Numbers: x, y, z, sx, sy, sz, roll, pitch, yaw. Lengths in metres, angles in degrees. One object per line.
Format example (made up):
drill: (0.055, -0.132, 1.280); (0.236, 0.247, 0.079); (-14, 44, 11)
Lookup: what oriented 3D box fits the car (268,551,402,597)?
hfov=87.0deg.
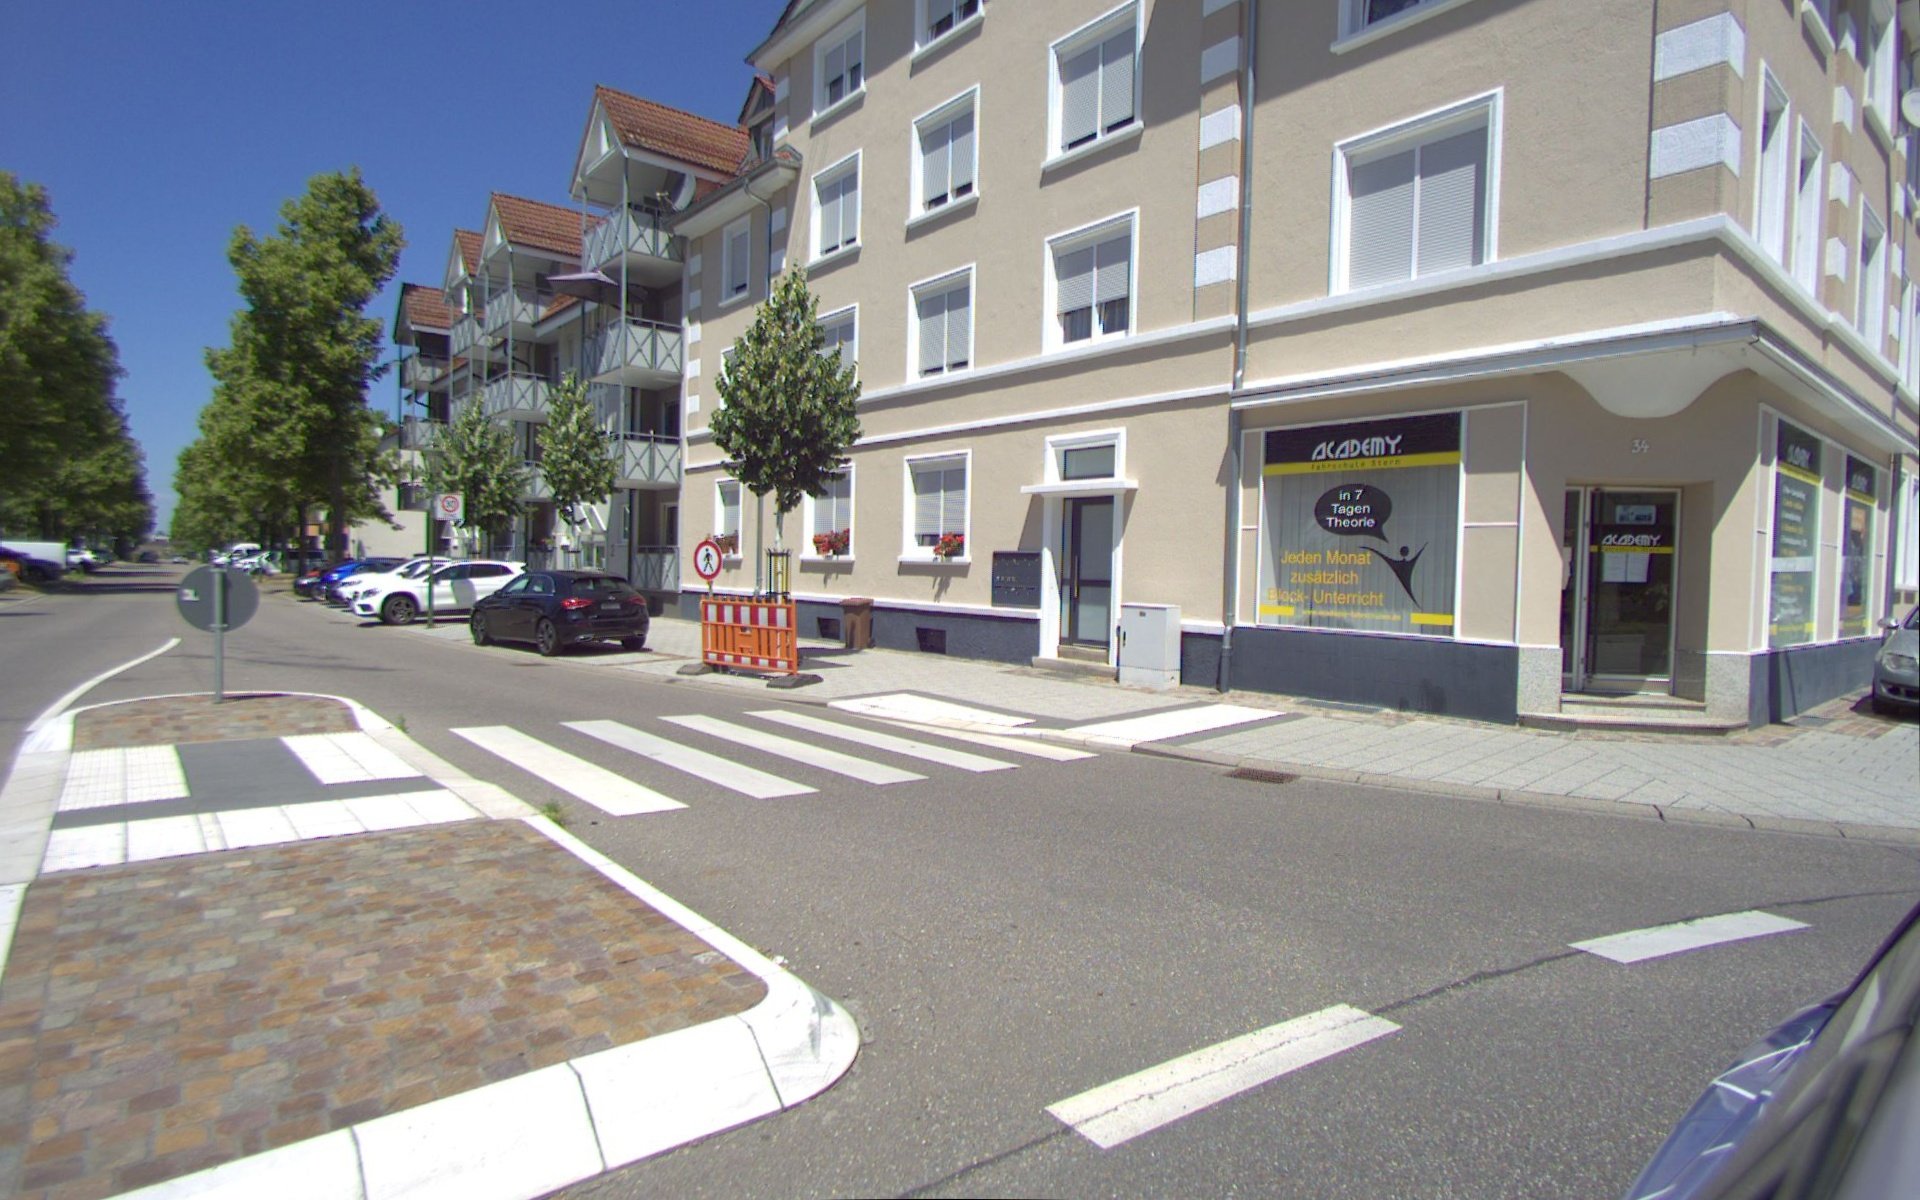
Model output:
car: (-24.248, -1.059, 39.340); (4.220, 1.661, 1.904); (-2, 3, -40)

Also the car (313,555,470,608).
car: (-18.416, -0.666, 32.860); (4.218, 1.595, 1.905); (-2, 3, -38)

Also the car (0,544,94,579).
car: (-51.545, -2.179, 57.203); (3.930, 1.883, 1.997); (0, 2, -41)

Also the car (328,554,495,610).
car: (-16.720, -0.610, 30.939); (4.218, 1.595, 1.905); (-2, 3, -38)

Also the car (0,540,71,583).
car: (-43.040, -1.738, 45.909); (3.927, 1.883, 1.998); (0, 0, -38)

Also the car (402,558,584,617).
car: (-12.741, -0.401, 27.743); (4.218, 1.453, 1.905); (-2, 3, -38)

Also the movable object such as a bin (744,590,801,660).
movable object such as a bin: (-3.001, 0.380, 16.192); (0.631, 1.068, 0.703); (-1, 2, -42)

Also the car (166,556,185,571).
car: (-109.517, -5.075, 141.300); (1.965, 2.038, 3.995); (0, 2, -40)

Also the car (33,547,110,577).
car: (-62.088, -2.654, 70.805); (3.927, 1.882, 2.000); (0, 4, -38)

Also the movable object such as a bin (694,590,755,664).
movable object such as a bin: (-3.659, 0.402, 15.697); (0.659, 1.068, 0.703); (-3, 3, -42)

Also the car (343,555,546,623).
car: (-12.783, -0.333, 25.212); (4.218, 1.542, 1.905); (-2, 3, -38)

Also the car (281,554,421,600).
car: (-22.320, -0.890, 37.159); (4.218, 1.595, 1.905); (-2, 3, -38)

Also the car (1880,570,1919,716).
car: (12.373, 0.459, 11.893); (4.609, 1.548, 1.768); (-1, 4, -41)

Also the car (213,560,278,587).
car: (-56.512, -2.073, 80.041); (3.934, 2.039, 1.995); (0, 2, -44)

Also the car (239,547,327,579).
car: (-44.621, -2.407, 66.734); (4.660, 2.038, 1.997); (0, 2, -41)

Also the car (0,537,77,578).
car: (-46.602, -2.129, 50.359); (3.927, 1.882, 2.000); (0, 4, -38)

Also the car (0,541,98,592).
car: (-38.748, -1.369, 42.444); (3.931, 2.039, 1.997); (0, 0, -41)

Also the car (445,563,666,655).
car: (-7.437, 0.069, 18.481); (4.148, 1.453, 1.882); (2, 3, 37)

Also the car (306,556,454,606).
car: (-20.021, -0.716, 35.025); (4.218, 1.595, 1.905); (-2, 3, -38)

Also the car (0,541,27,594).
car: (-34.720, -1.198, 34.551); (3.923, 1.805, 2.001); (2, 1, -35)

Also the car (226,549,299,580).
car: (-48.027, -2.438, 69.725); (3.934, 2.039, 1.995); (0, 2, -44)

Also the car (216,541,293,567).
car: (-59.381, -3.826, 85.250); (5.182, 2.038, 2.234); (0, 2, -41)

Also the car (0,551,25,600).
car: (-30.857, -0.769, 30.391); (3.927, 1.465, 1.999); (0, 1, -38)

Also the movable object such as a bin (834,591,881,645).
movable object such as a bin: (-1.895, 0.326, 18.715); (0.577, 0.946, 0.647); (2, 3, 41)
